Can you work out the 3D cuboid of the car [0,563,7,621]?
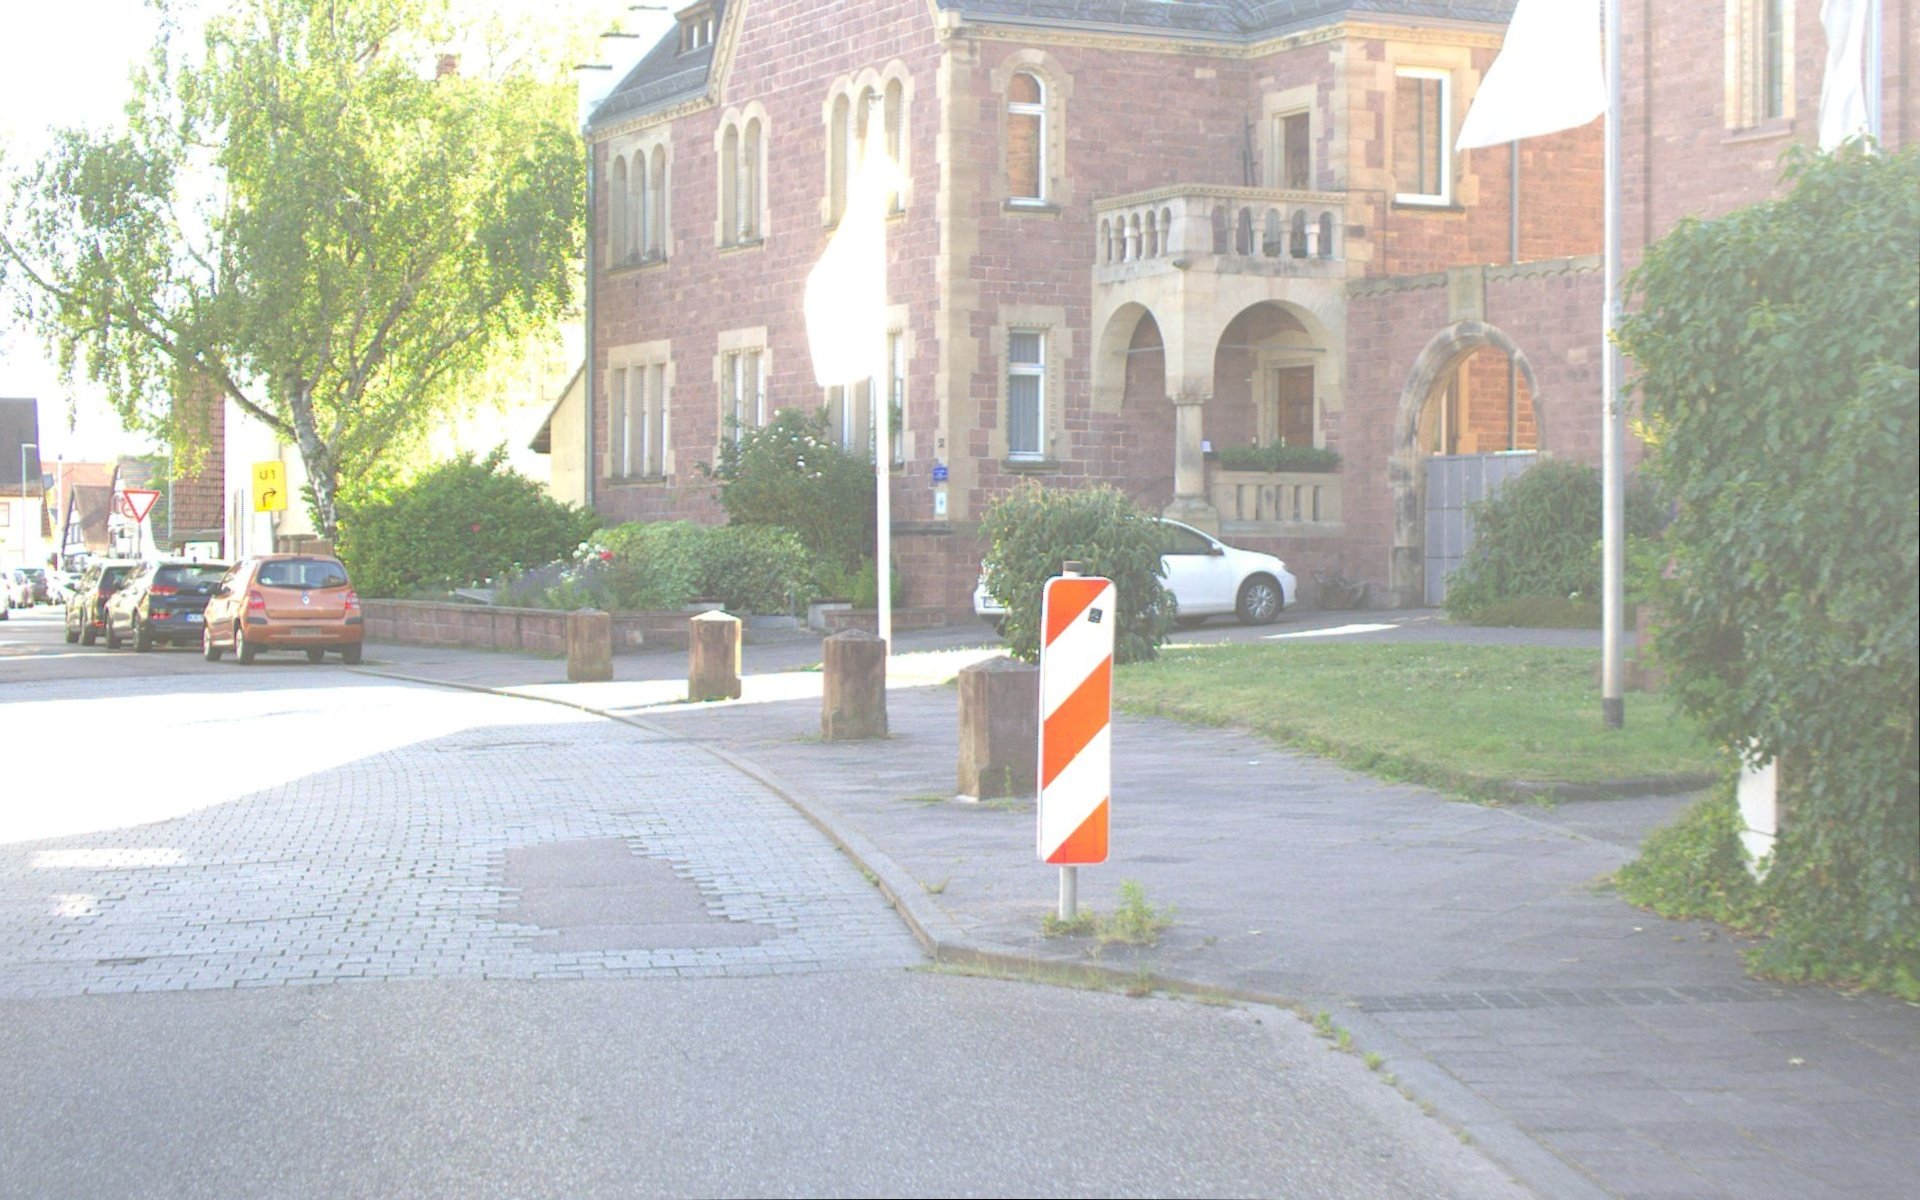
[{"bbox_3d":[-24.424,-0.164,84.430,1.670,1.397,3.893,-2,2,-12],"label":"car"}]

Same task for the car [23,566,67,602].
[{"bbox_3d":[-37.117,-0.660,139.505,1.587,1.438,3.616,-1,1,-13],"label":"car"}]

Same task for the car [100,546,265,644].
[{"bbox_3d":[-12.353,-0.117,54.461,1.807,1.431,4.287,-1,2,-23],"label":"car"}]

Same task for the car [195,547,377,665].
[{"bbox_3d":[-9.178,0.041,46.619,1.648,1.473,3.934,-1,2,-23],"label":"car"}]

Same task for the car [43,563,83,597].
[{"bbox_3d":[-39.448,-0.898,151.233,1.587,1.438,3.616,-1,1,-13],"label":"car"}]

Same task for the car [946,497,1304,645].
[{"bbox_3d":[2.051,-0.363,42.602,3.898,1.491,1.905,-6,2,-28],"label":"car"}]

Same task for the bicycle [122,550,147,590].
[{"bbox_3d":[-24.489,-0.903,101.984,0.433,1.172,1.829,-1,1,-5],"label":"bicycle"}]

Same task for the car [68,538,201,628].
[{"bbox_3d":[-14.157,-0.328,58.835,1.807,1.431,4.287,-1,2,-19],"label":"car"}]
